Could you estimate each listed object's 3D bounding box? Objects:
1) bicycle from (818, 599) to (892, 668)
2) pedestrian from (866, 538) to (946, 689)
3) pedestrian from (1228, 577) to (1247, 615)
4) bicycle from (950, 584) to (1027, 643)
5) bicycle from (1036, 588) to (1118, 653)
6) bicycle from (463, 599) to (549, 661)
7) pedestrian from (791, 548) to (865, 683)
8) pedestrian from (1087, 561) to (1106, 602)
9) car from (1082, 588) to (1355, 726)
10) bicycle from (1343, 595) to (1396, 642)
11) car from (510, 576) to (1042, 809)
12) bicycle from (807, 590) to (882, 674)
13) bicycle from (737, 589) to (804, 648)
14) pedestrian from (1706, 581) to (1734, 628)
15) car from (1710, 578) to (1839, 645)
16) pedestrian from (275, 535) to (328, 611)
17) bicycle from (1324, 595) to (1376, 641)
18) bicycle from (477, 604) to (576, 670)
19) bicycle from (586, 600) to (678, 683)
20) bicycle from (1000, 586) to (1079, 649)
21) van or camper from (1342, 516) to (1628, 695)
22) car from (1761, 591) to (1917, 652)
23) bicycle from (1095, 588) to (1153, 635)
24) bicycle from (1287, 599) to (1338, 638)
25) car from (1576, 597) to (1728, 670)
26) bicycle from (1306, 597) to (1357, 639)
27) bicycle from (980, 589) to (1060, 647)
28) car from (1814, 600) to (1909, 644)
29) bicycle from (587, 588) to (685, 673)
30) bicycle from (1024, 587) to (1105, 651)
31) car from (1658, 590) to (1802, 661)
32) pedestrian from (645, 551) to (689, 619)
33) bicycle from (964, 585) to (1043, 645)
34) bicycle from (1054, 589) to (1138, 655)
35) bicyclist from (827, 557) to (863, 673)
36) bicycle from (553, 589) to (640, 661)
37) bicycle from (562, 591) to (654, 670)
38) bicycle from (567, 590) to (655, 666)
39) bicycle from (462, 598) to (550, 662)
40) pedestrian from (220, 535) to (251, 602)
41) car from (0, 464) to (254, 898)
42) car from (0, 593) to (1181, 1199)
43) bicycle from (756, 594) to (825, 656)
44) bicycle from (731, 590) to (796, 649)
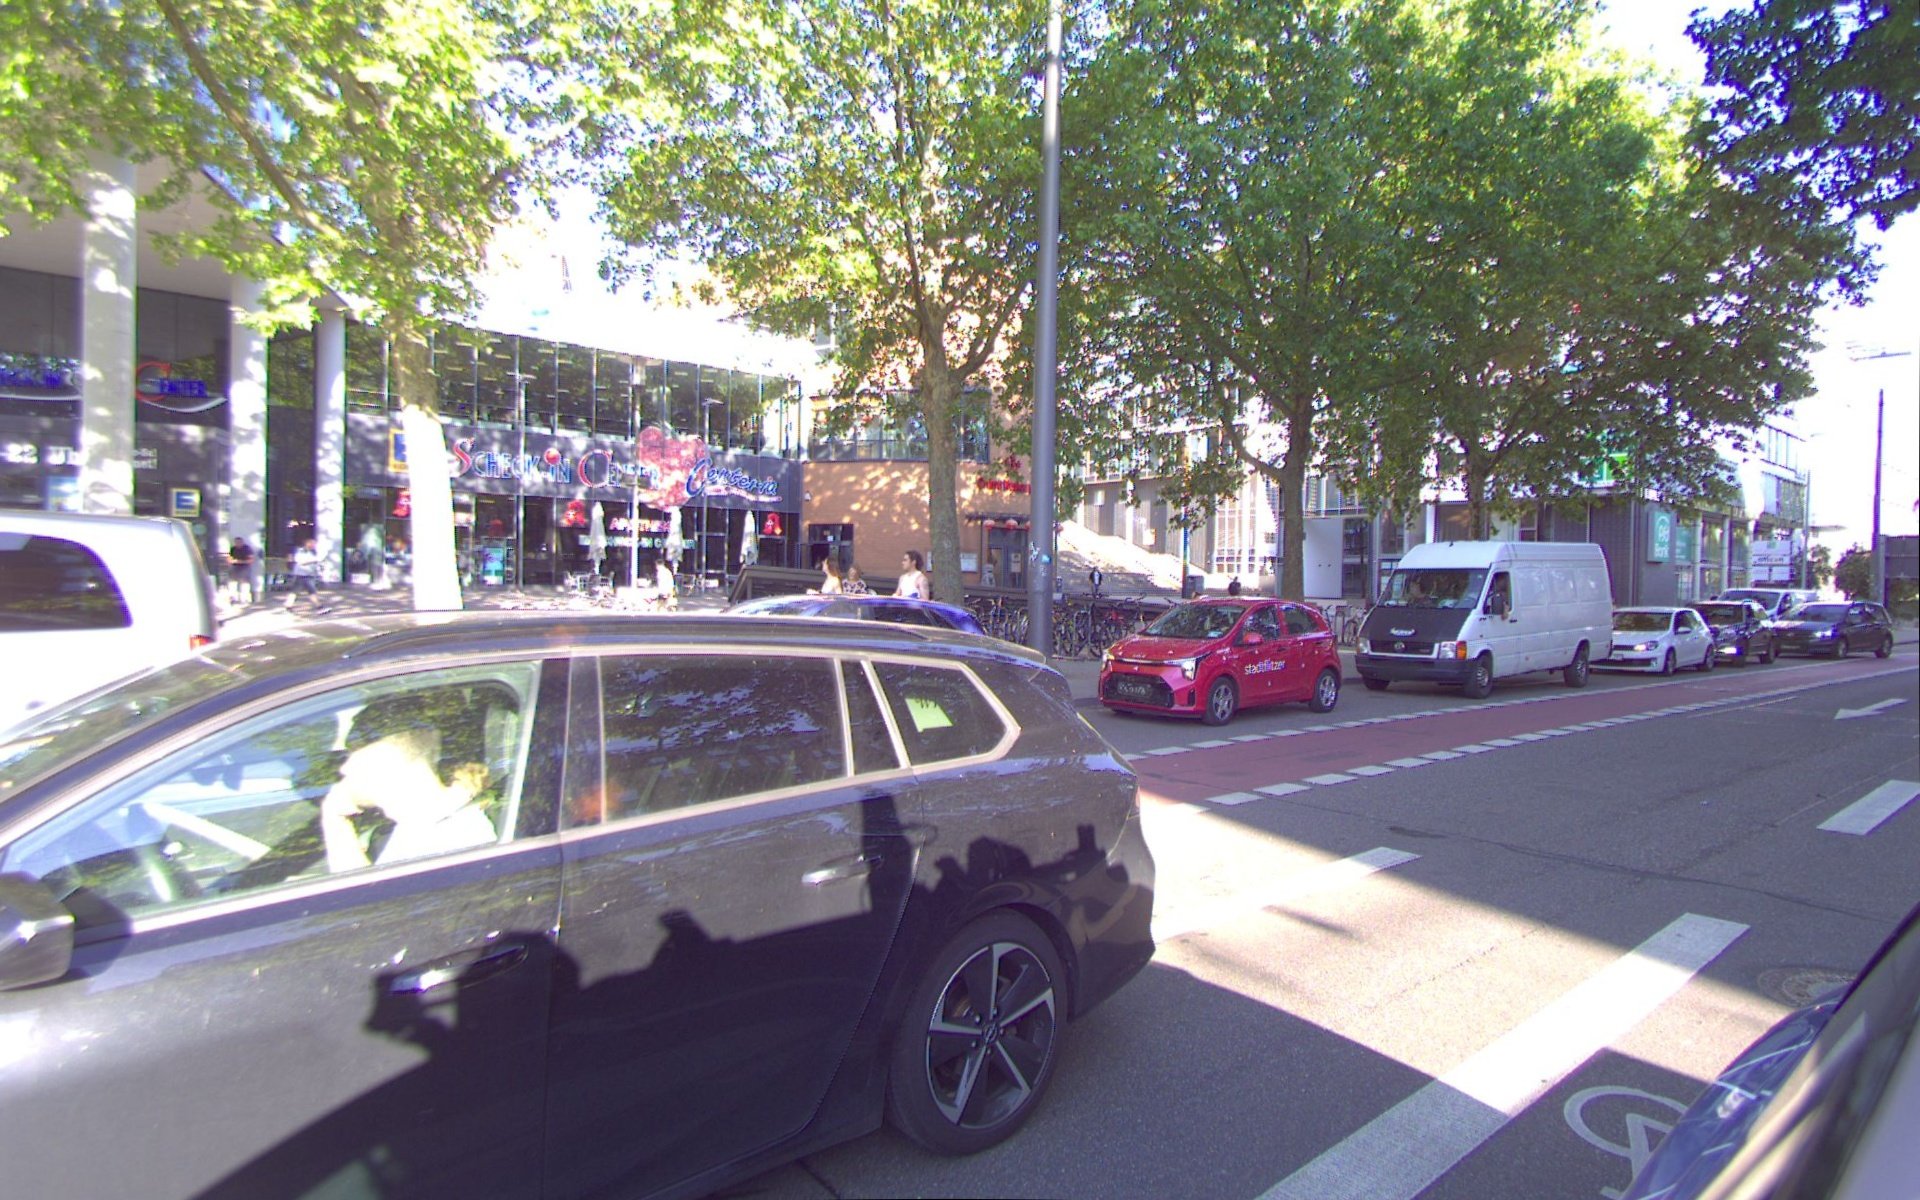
[{"bbox_3d":[-1.766,0.553,17.109,1.202,1.110,0.420,0,1,-40],"label":"bicycle"},{"bbox_3d":[-0.694,0.159,13.034,0.640,1.868,0.803,1,1,38],"label":"pedestrian"},{"bbox_3d":[11.611,-0.171,42.403,0.707,1.578,0.638,1,1,14],"label":"pedestrian"},{"bbox_3d":[0.636,0.272,21.700,1.818,1.209,0.434,0,1,-41],"label":"bicycle"},{"bbox_3d":[2.298,0.389,19.749,1.818,1.209,0.448,0,1,-41],"label":"bicycle"},{"bbox_3d":[-7.122,0.463,15.920,1.198,0.938,0.465,1,1,-22],"label":"bicycle"},{"bbox_3d":[-1.825,0.194,14.016,0.646,1.799,0.753,2,1,40],"label":"pedestrian"},{"bbox_3d":[6.876,-0.935,51.075,0.861,2.062,0.585,1,1,6],"label":"pedestrian"},{"bbox_3d":[3.353,0.610,12.837,3.588,1.476,1.605,0,1,-41],"label":"car"},{"bbox_3d":[11.032,0.479,27.231,1.818,1.209,0.521,0,2,-41],"label":"bicycle"},{"bbox_3d":[-1.390,0.589,8.665,4.177,1.503,1.742,0,2,-41],"label":"car"},{"bbox_3d":[-1.802,0.482,15.803,1.126,1.271,0.379,0,1,-41],"label":"bicycle"},{"bbox_3d":[-3.643,0.344,19.504,1.202,1.110,0.444,0,1,-40],"label":"bicycle"},{"bbox_3d":[29.057,0.169,38.688,0.516,1.790,0.716,0,1,-39],"label":"pedestrian"},{"bbox_3d":[26.493,0.347,32.874,4.863,2.020,1.968,0,1,-35],"label":"car"},{"bbox_3d":[-15.911,-0.651,24.472,0.869,1.805,0.603,1,1,-5],"label":"pedestrian"},{"bbox_3d":[10.664,0.486,27.630,1.818,1.209,0.495,0,2,-41],"label":"bicycle"},{"bbox_3d":[-6.239,0.519,14.595,1.231,0.898,0.462,0,1,-40],"label":"bicycle"},{"bbox_3d":[-4.581,0.565,14.180,1.202,1.110,0.269,0,1,-40],"label":"bicycle"},{"bbox_3d":[1.628,0.340,20.519,1.818,1.209,0.447,0,1,-41],"label":"bicycle"},{"bbox_3d":[9.285,0.070,17.546,6.456,2.611,1.998,0,0,-39],"label":"van or camper"},{"bbox_3d":[25.296,0.584,29.116,4.242,1.640,1.970,0,1,-28],"label":"car"},{"bbox_3d":[4.400,0.306,27.053,1.759,1.209,0.517,0,2,-41],"label":"bicycle"},{"bbox_3d":[9.925,0.506,28.453,1.818,1.046,0.515,0,2,-41],"label":"bicycle"},{"bbox_3d":[15.288,0.679,22.293,3.927,1.446,1.683,0,1,-38],"label":"car"},{"bbox_3d":[10.309,0.474,28.042,1.766,1.108,0.522,0,2,-41],"label":"bicycle"},{"bbox_3d":[1.255,0.352,20.967,1.818,1.139,0.484,0,2,-41],"label":"bicycle"},{"bbox_3d":[31.706,0.738,35.567,3.927,1.394,1.802,0,2,-38],"label":"car"},{"bbox_3d":[-4.436,0.400,13.883,1.202,1.110,0.413,0,1,-40],"label":"bicycle"},{"bbox_3d":[2.110,0.363,20.258,1.818,1.209,0.484,0,2,-41],"label":"bicycle"},{"bbox_3d":[19.594,0.593,25.713,4.148,1.640,1.819,0,1,-36],"label":"car"},{"bbox_3d":[-7.614,-0.406,26.302,0.797,1.728,0.712,1,1,23],"label":"pedestrian"},{"bbox_3d":[0.934,0.297,21.347,1.818,1.209,0.458,0,1,-41],"label":"bicycle"},{"bbox_3d":[2.620,0.400,19.364,1.818,1.209,0.481,0,2,-41],"label":"bicycle"},{"bbox_3d":[-1.796,0.227,15.811,0.392,1.782,0.390,0,1,-41],"label":"bicyclist"},{"bbox_3d":[-5.807,0.379,16.212,0.414,1.110,1.269,2,1,41],"label":"bicycle"},{"bbox_3d":[-5.158,0.425,14.839,1.202,1.110,0.396,0,1,-40],"label":"bicycle"},{"bbox_3d":[-5.360,0.407,15.587,0.372,1.110,1.269,2,1,41],"label":"bicycle"},{"bbox_3d":[-6.959,0.454,15.542,1.198,0.930,0.442,1,1,-22],"label":"bicycle"},{"bbox_3d":[-18.748,-0.802,26.190,0.506,1.707,0.604,1,1,-23],"label":"pedestrian"},{"bbox_3d":[-6.210,0.346,4.379,5.008,2.004,1.940,0,2,-41],"label":"car"},{"bbox_3d":[-1.455,0.701,2.440,4.196,1.432,1.742,0,0,-41],"label":"car"},{"bbox_3d":[-3.142,0.445,18.813,1.202,1.110,0.427,0,1,-40],"label":"bicycle"},{"bbox_3d":[-3.888,0.373,20.048,1.202,1.110,0.429,0,1,-40],"label":"bicycle"}]
